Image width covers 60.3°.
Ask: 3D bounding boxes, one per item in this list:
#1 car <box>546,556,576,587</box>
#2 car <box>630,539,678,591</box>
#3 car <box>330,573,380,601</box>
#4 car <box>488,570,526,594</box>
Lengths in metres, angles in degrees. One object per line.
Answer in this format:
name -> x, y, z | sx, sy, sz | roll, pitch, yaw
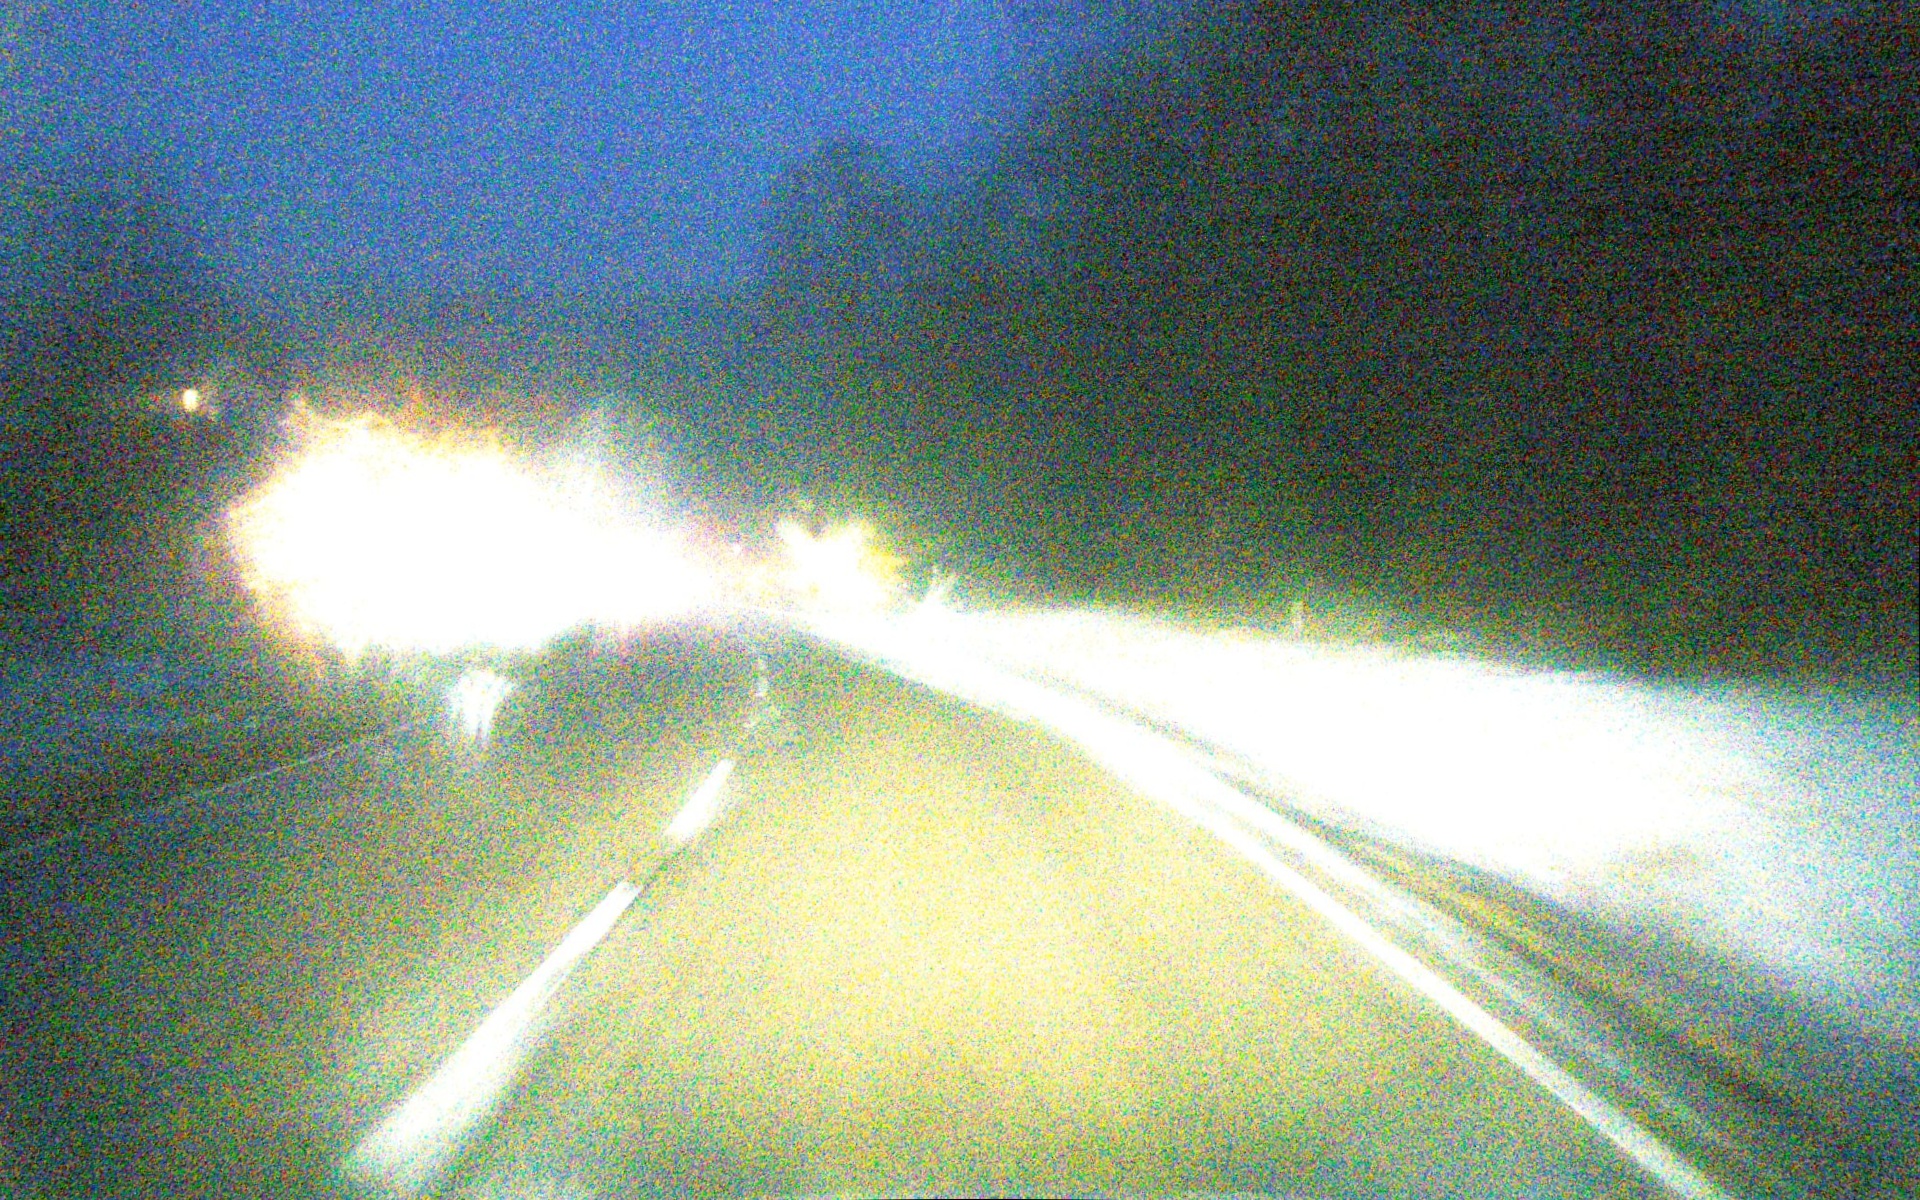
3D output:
car -> -28.353, -2.006, 117.676 | 1.959, 2.049, 3.987 | 2, 0, -13
car -> -17.224, -1.991, 92.896 | 2.494, 2.540, 5.701 | 2, 4, -11
car -> -34.584, -0.763, 94.649 | 1.656, 1.422, 4.145 | -1, 2, -6
car -> -31.073, -1.203, 113.328 | 1.929, 1.548, 4.369 | 2, 0, -23
